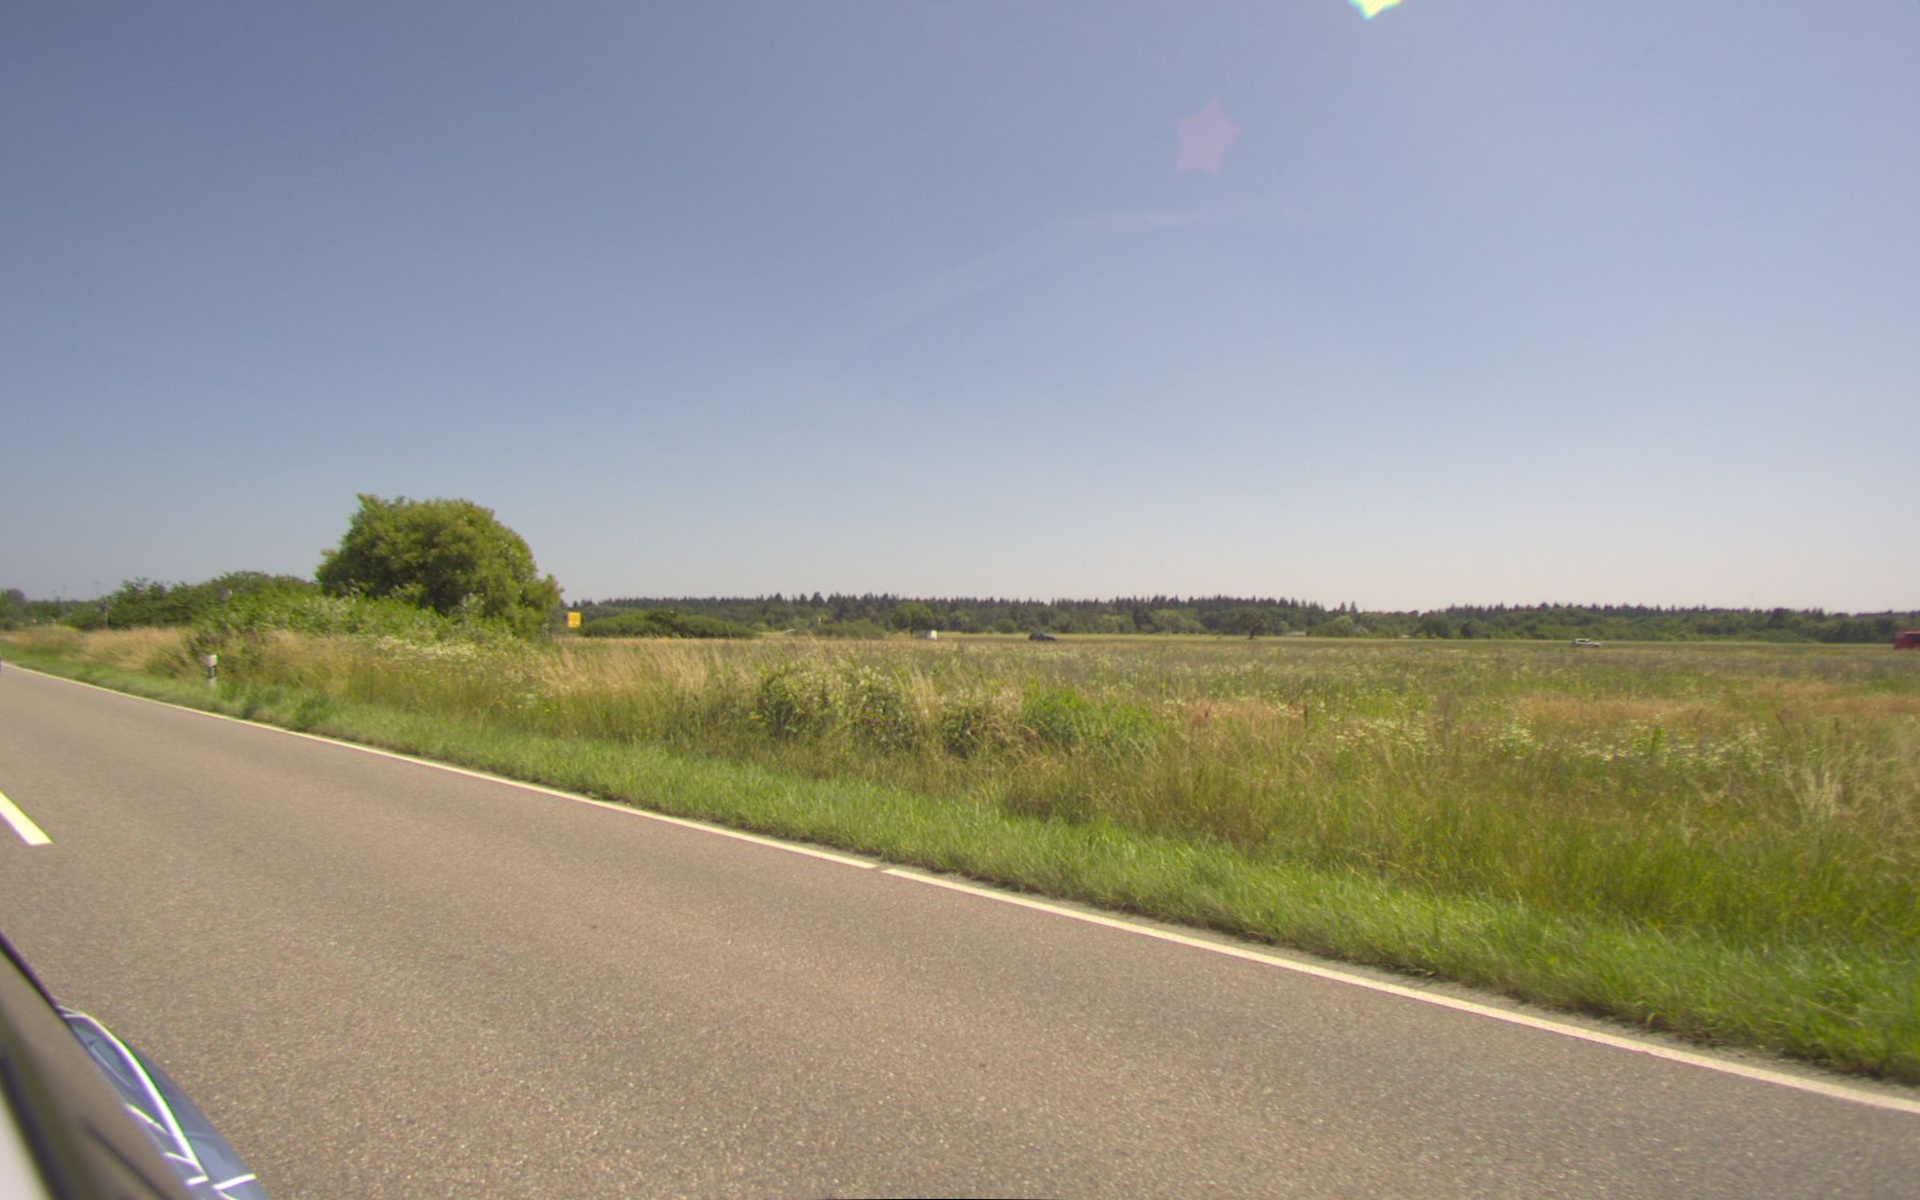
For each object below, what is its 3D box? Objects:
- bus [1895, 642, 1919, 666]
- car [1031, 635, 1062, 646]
[{"bbox_3d":[140.211,7.651,143.035,11.850,3.334,3.305,0,-2,8],"label":"bus"},{"bbox_3d":[13.839,6.423,162.140,4.801,1.704,1.993,0,-2,12],"label":"car"}]
